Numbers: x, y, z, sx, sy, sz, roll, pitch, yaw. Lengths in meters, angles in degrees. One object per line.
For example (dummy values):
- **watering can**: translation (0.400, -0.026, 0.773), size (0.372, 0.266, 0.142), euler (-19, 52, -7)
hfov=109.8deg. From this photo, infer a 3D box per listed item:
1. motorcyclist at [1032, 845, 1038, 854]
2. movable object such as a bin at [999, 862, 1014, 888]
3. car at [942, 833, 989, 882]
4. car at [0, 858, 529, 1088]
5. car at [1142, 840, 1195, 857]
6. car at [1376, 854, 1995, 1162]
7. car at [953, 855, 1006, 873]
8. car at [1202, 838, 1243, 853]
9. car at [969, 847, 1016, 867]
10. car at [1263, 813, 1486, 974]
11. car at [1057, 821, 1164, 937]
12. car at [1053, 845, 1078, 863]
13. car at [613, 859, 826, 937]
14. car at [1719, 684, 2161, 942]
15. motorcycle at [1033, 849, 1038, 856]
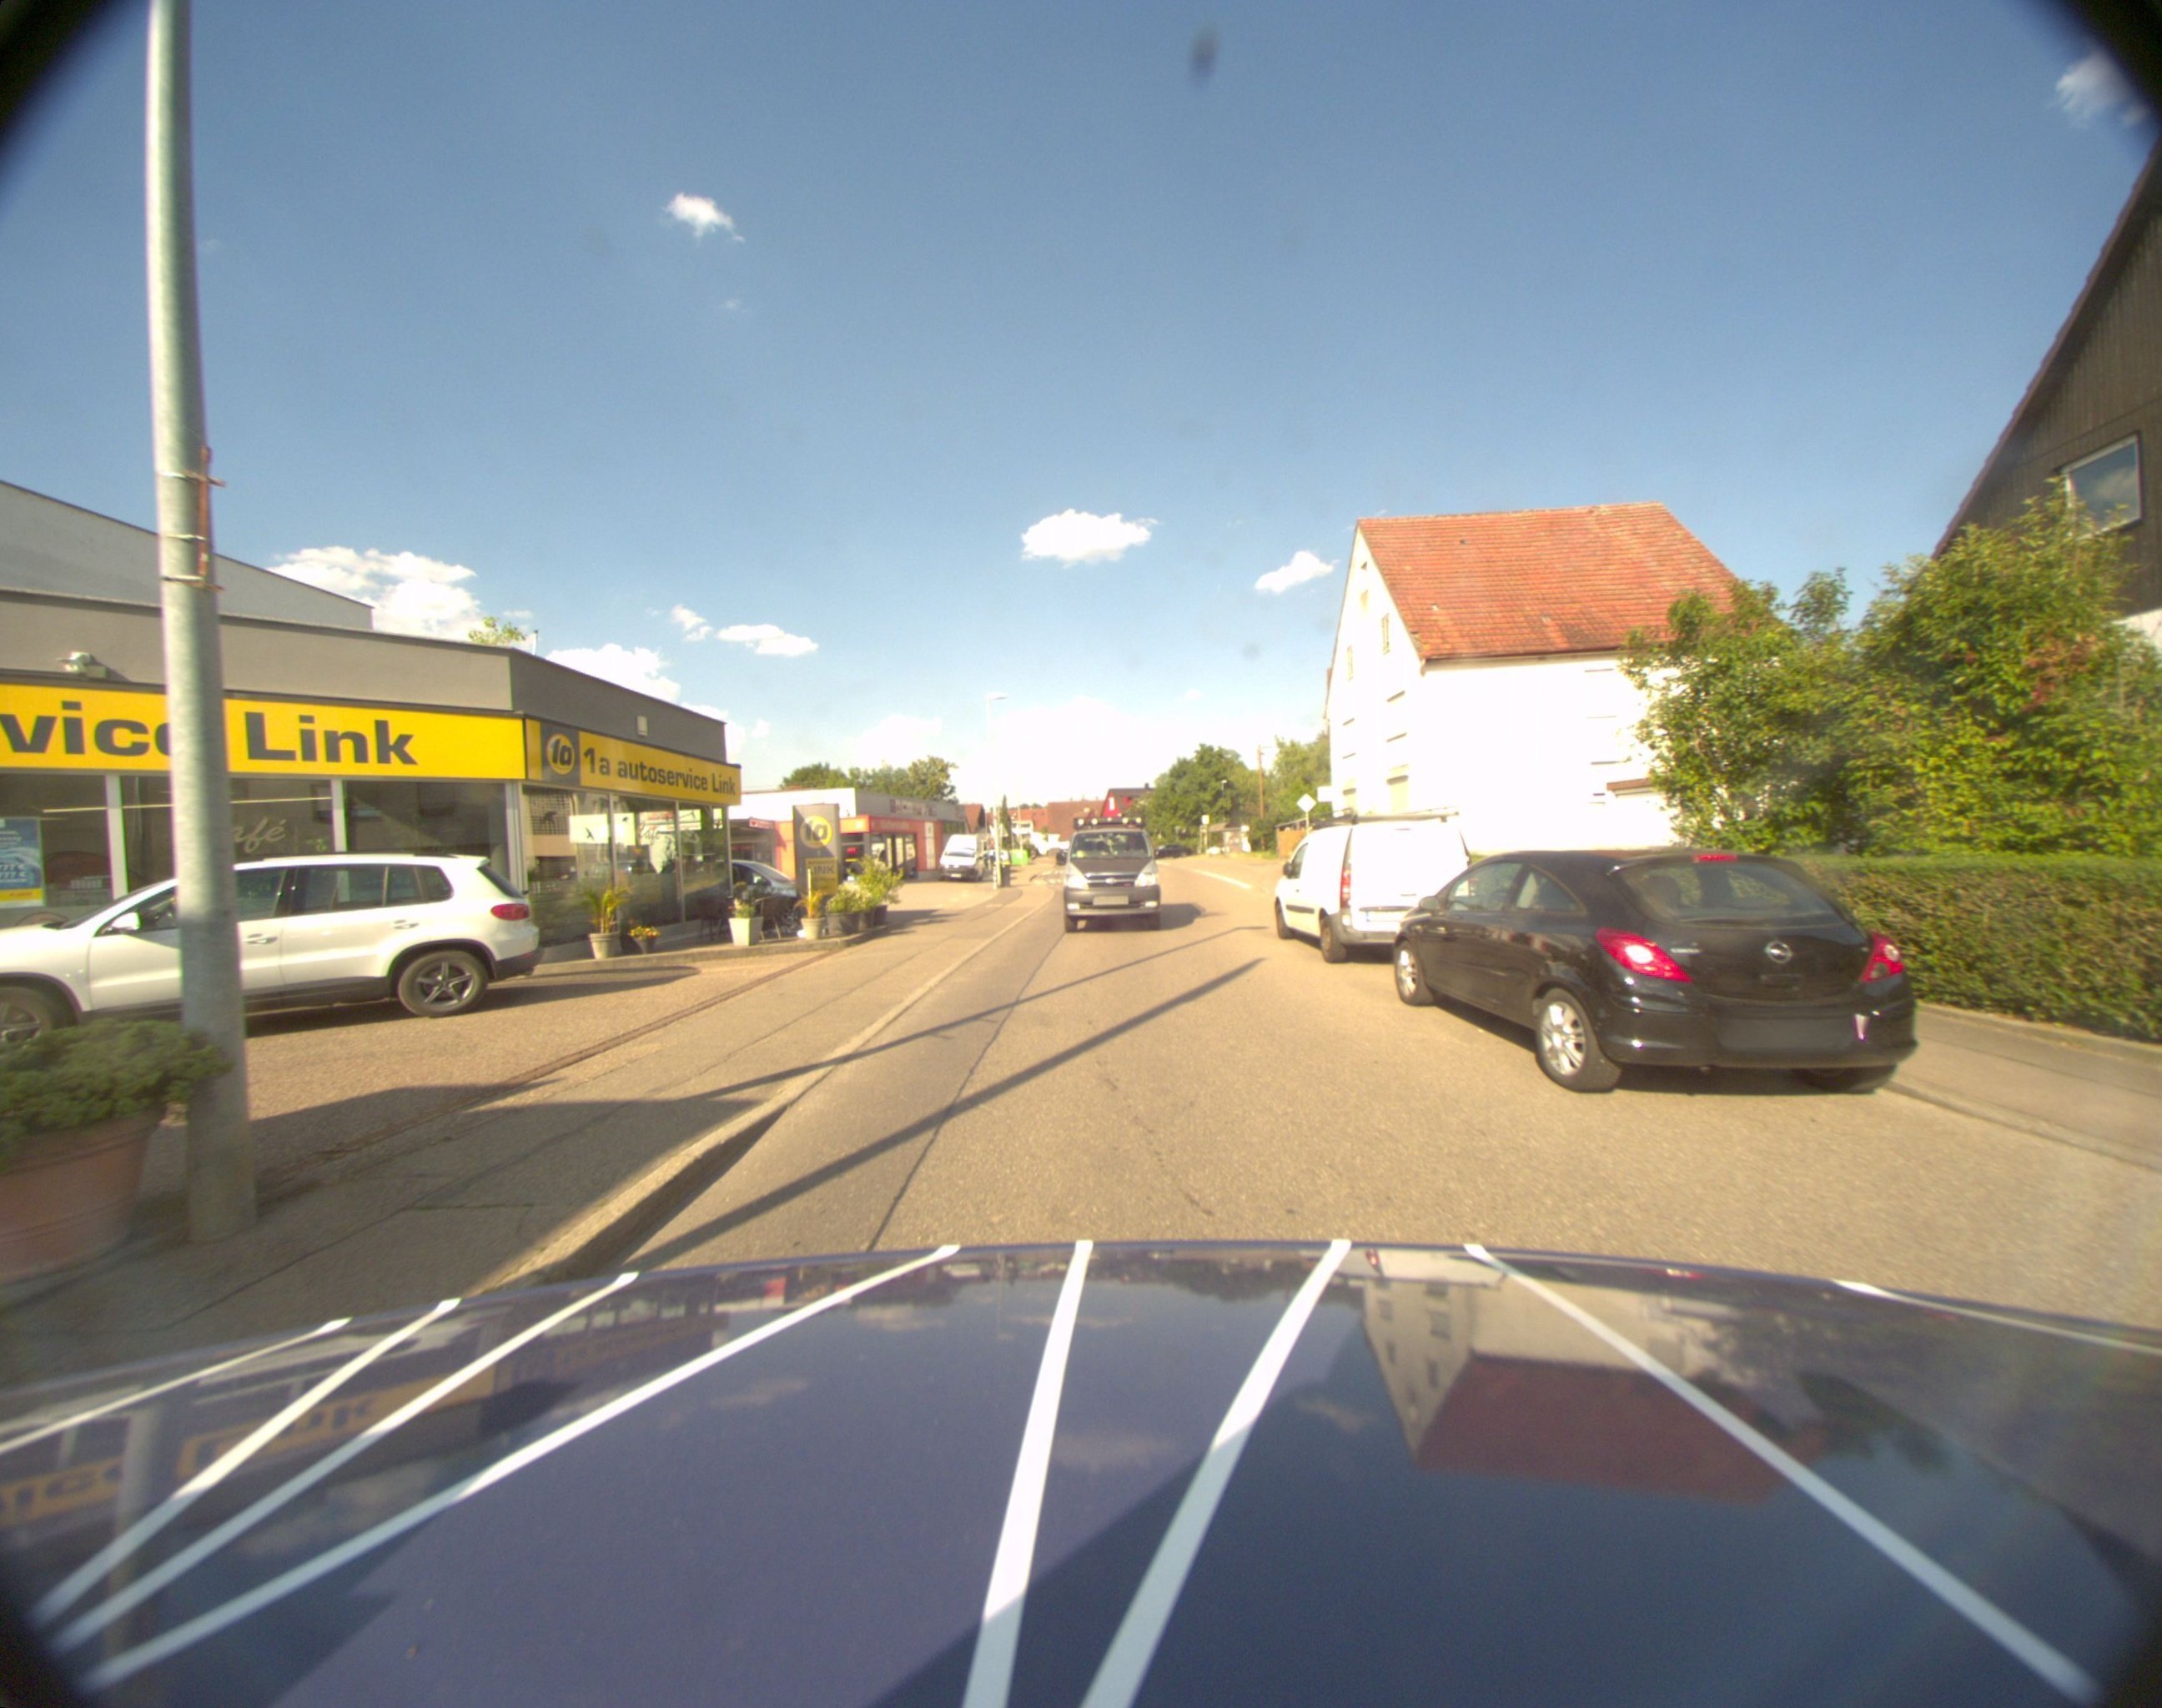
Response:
- **motorcyclist**: translation (-7.368, -0.734, 122.171), size (0.738, 1.518, 1.015), euler (-6, 2, -8)
- **movable object such as a bin**: translation (-3.177, 0.890, 32.418), size (0.568, 1.069, 0.572), euler (-2, 1, -3)
- **car**: translation (-6.059, 0.150, 40.538), size (1.841, 2.361, 5.176), euler (-2, 1, -2)
- **car**: translation (-7.827, 0.916, 7.150), size (4.086, 1.665, 1.672), euler (-1, 1, -41)
- **car**: translation (8.536, -0.547, 74.425), size (4.849, 1.423, 1.768), euler (-3, 2, -20)
- **car**: translation (3.716, 0.770, 5.660), size (1.676, 1.443, 3.834), euler (-2, 1, 3)
- **car**: translation (-8.455, 0.836, 63.438), size (4.073, 1.409, 1.626), euler (-1, 2, 4)
- **car**: translation (15.032, -0.911, 80.708), size (4.282, 1.483, 1.857), euler (-3, 2, -37)
- **car**: translation (-8.106, 0.255, 69.754), size (3.948, 1.594, 1.682), euler (-2, 2, 2)
- **car**: translation (3.958, 0.451, 11.055), size (1.720, 1.862, 4.192), euler (-1, 1, 2)
- **car**: translation (0.644, 0.398, 15.674), size (1.819, 1.989, 4.821), euler (-1, 1, 3)
- **car**: translation (-1.504, -0.043, 72.731), size (1.974, 1.647, 3.996), euler (-1, 1, -8)
- **car**: translation (-8.026, 0.953, 17.077), size (3.996, 1.522, 1.527), euler (-2, 1, 2)
- **car**: translation (12.176, -0.500, 10.389), size (2.163, 2.581, 6.096), euler (-3, 0, 6)
- **motorcycle**: translation (-7.349, -0.281, 122.182), size (0.540, 1.007, 2.026), euler (-5, 1, -7)
